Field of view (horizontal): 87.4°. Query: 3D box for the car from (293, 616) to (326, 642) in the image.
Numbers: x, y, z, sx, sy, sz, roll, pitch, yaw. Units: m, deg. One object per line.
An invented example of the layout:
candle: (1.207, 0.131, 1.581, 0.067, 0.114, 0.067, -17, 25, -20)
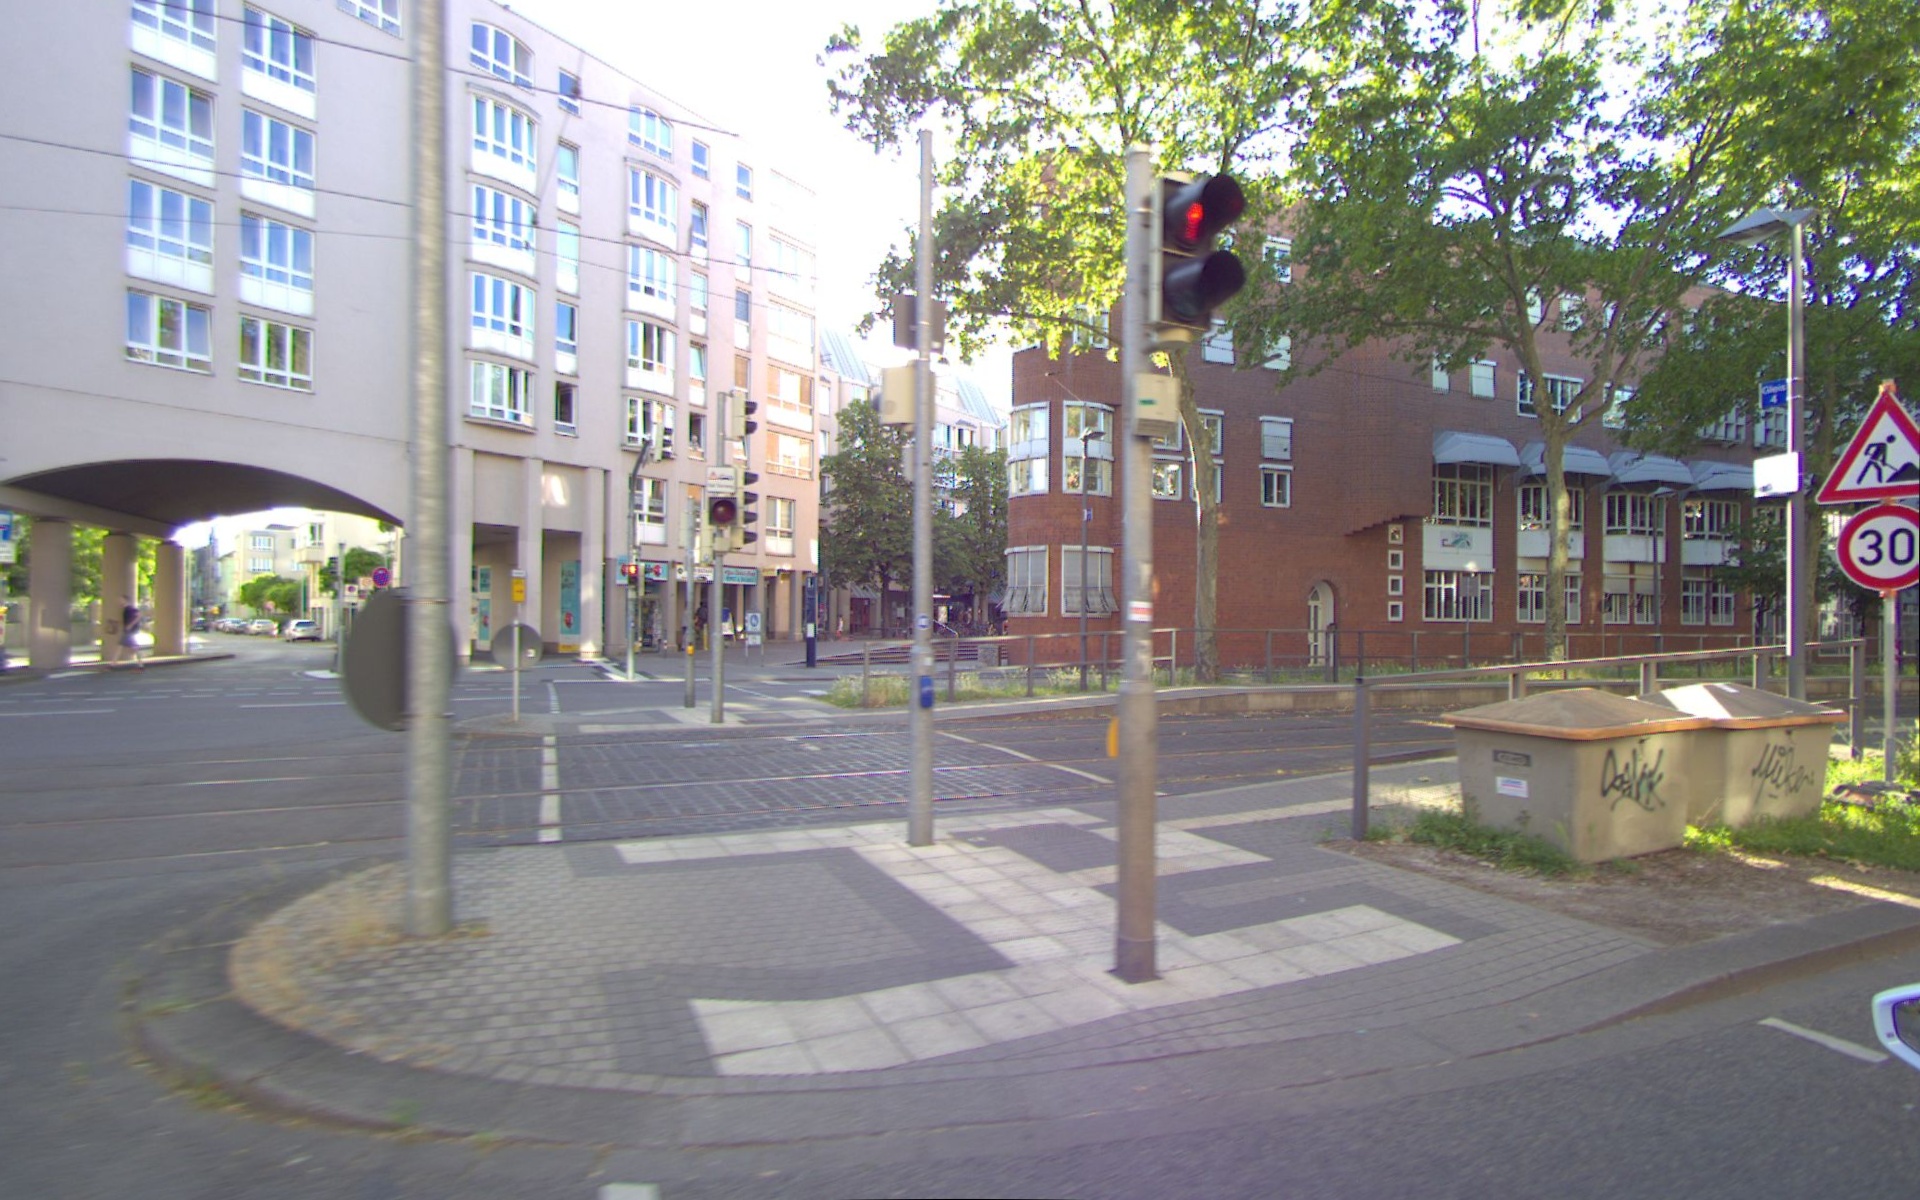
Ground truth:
car: (-44.993, 1.998, 69.483, 1.879, 1.752, 3.622, 1, -1, -33)

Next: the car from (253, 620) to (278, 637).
car: (-60.610, 2.471, 87.595, 1.670, 1.413, 3.617, 1, -1, -36)

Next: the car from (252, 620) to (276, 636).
car: (-63.059, 2.539, 90.945, 1.670, 1.413, 3.617, 1, -1, -36)

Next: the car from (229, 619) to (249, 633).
car: (-75.397, 2.748, 105.054, 1.670, 1.413, 3.617, 1, -1, -36)

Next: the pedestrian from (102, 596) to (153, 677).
pedestrian: (-21.427, 0.929, 25.842, 0.825, 2.040, 0.883, 0, 0, 41)

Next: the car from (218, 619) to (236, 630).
car: (-91.702, 3.053, 125.607, 1.671, 1.413, 3.615, 1, -1, -38)

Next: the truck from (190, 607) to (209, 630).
truck: (-113.149, 2.751, 149.506, 2.169, 3.378, 6.539, 1, -1, -38)

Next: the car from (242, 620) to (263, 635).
car: (-71.182, 2.742, 101.083, 1.670, 1.413, 3.617, 1, -1, -36)

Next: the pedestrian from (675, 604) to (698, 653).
pedestrian: (-10.933, 1.130, 40.156, 0.809, 1.968, 0.758, 0, 0, -9)

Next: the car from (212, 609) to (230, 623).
car: (-98.925, 2.086, 134.488, 1.801, 1.864, 3.957, 1, -1, -38)

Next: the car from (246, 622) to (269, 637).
car: (-66.776, 2.768, 95.482, 1.670, 1.413, 3.617, 1, -1, -36)

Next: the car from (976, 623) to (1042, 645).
car: (3.246, 2.243, 66.699, 3.924, 1.419, 1.999, 0, -1, 24)

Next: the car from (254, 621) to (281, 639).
car: (-55.441, 2.360, 80.348, 1.670, 1.413, 3.617, 1, -1, -36)
